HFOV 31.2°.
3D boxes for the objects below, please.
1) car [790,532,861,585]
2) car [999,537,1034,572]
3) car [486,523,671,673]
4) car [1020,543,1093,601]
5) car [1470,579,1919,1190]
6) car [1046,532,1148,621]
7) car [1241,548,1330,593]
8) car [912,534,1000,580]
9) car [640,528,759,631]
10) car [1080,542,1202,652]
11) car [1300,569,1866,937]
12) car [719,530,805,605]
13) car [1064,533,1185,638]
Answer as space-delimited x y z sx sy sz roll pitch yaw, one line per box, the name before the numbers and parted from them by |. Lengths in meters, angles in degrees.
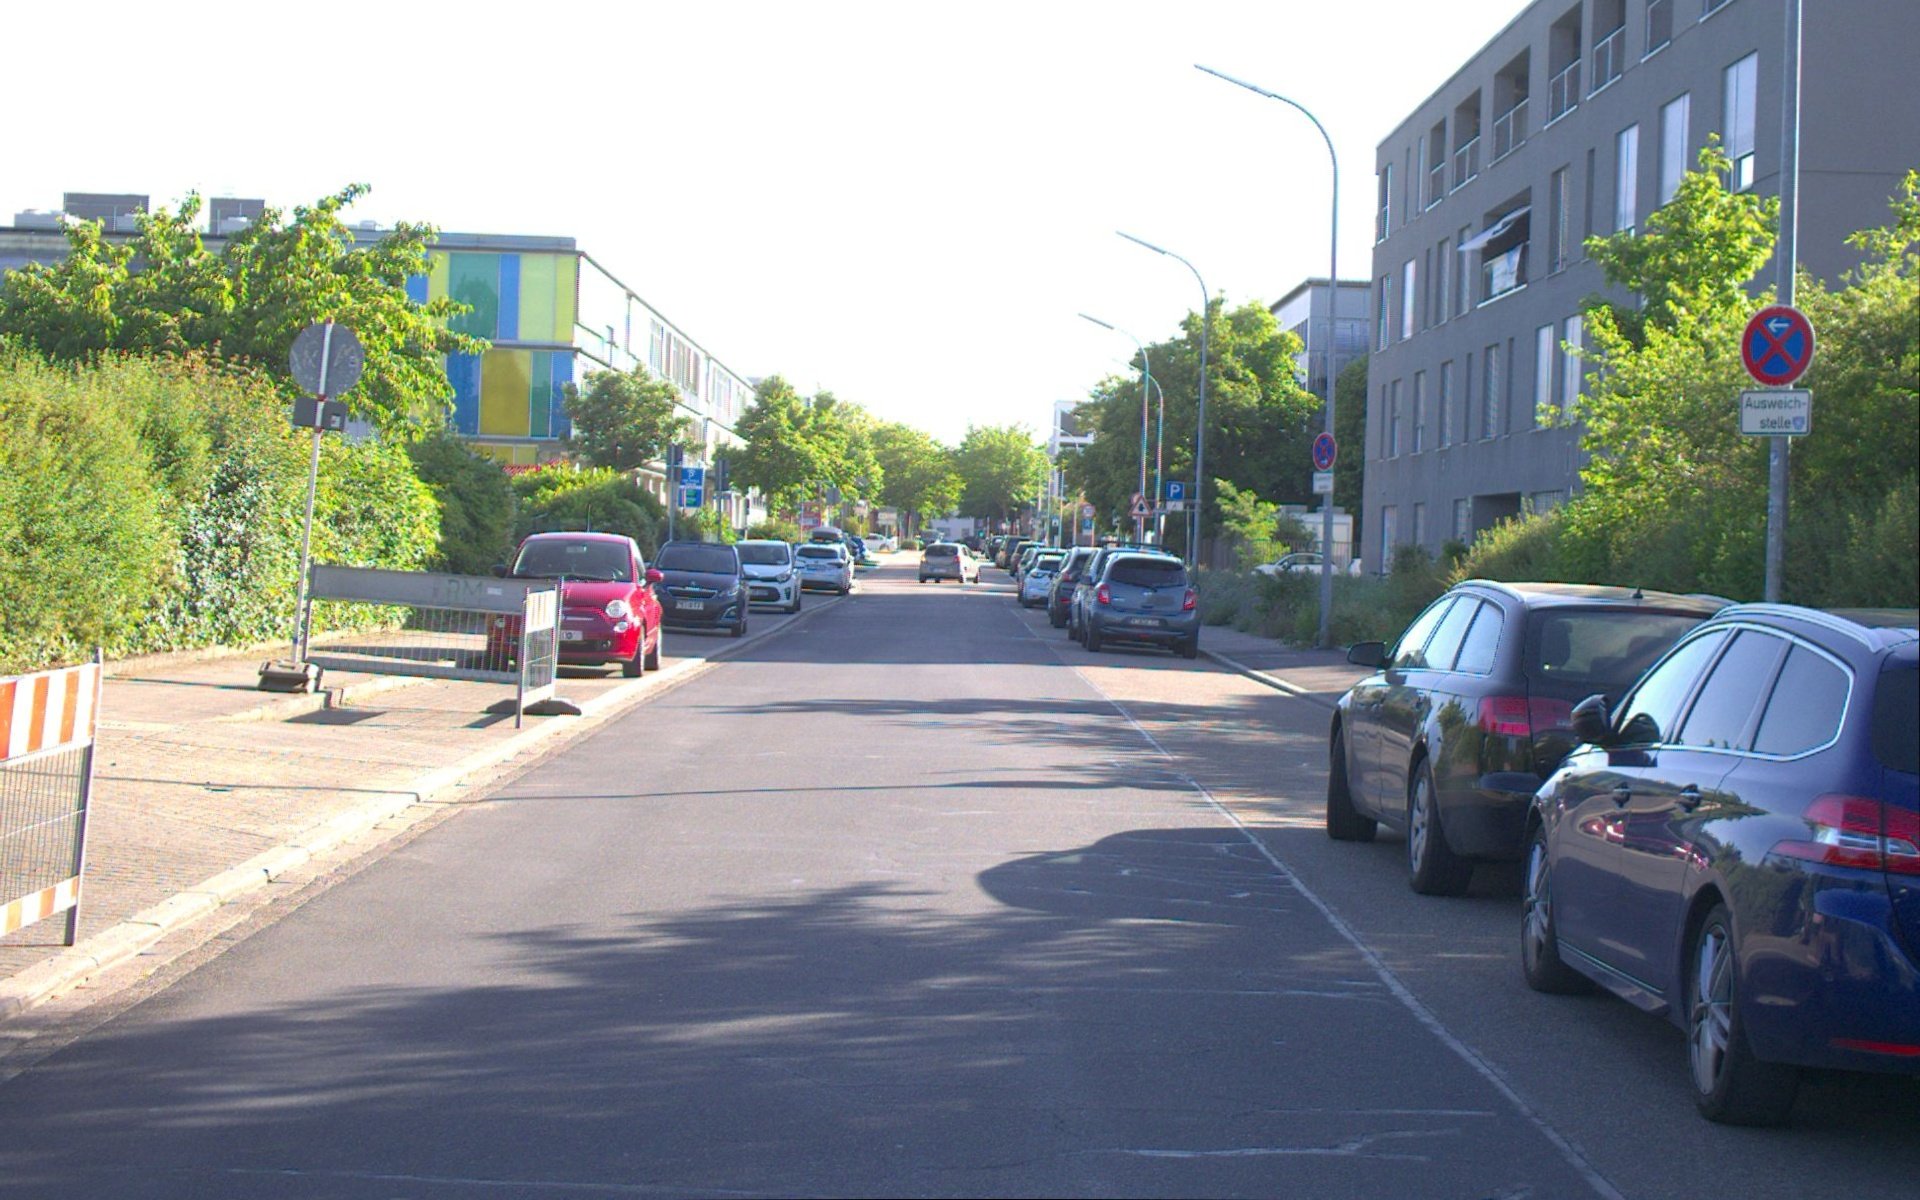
car | -3.945 -1.239 101.301 1.854 1.423 4.134 3 1 0
car | 2.658 -2.173 162.999 1.445 1.544 3.614 3 1 -1
car | -4.006 -0.053 36.536 1.559 1.489 3.571 1 1 0
car | 2.583 -0.769 92.370 1.742 1.423 4.134 3 1 0
car | 2.869 0.738 10.870 1.654 1.440 4.656 4 1 -1
car | 2.701 -0.485 68.430 1.742 1.619 4.179 3 1 0
car | 12.408 -1.134 131.227 3.216 1.544 1.450 3 1 3
car | -0.135 -1.587 127.322 1.692 1.544 3.608 4 1 27
car | -4.130 -0.349 54.925 1.559 1.489 3.571 4 1 0
car | 2.752 -0.080 52.873 1.622 1.521 3.901 4 1 1
car | 2.889 0.633 17.003 1.753 1.408 4.657 4 1 -1
car | -4.112 -0.704 71.845 1.559 1.489 3.759 1 1 0
car | 2.751 -0.280 58.328 1.676 1.603 4.179 4 1 -1
